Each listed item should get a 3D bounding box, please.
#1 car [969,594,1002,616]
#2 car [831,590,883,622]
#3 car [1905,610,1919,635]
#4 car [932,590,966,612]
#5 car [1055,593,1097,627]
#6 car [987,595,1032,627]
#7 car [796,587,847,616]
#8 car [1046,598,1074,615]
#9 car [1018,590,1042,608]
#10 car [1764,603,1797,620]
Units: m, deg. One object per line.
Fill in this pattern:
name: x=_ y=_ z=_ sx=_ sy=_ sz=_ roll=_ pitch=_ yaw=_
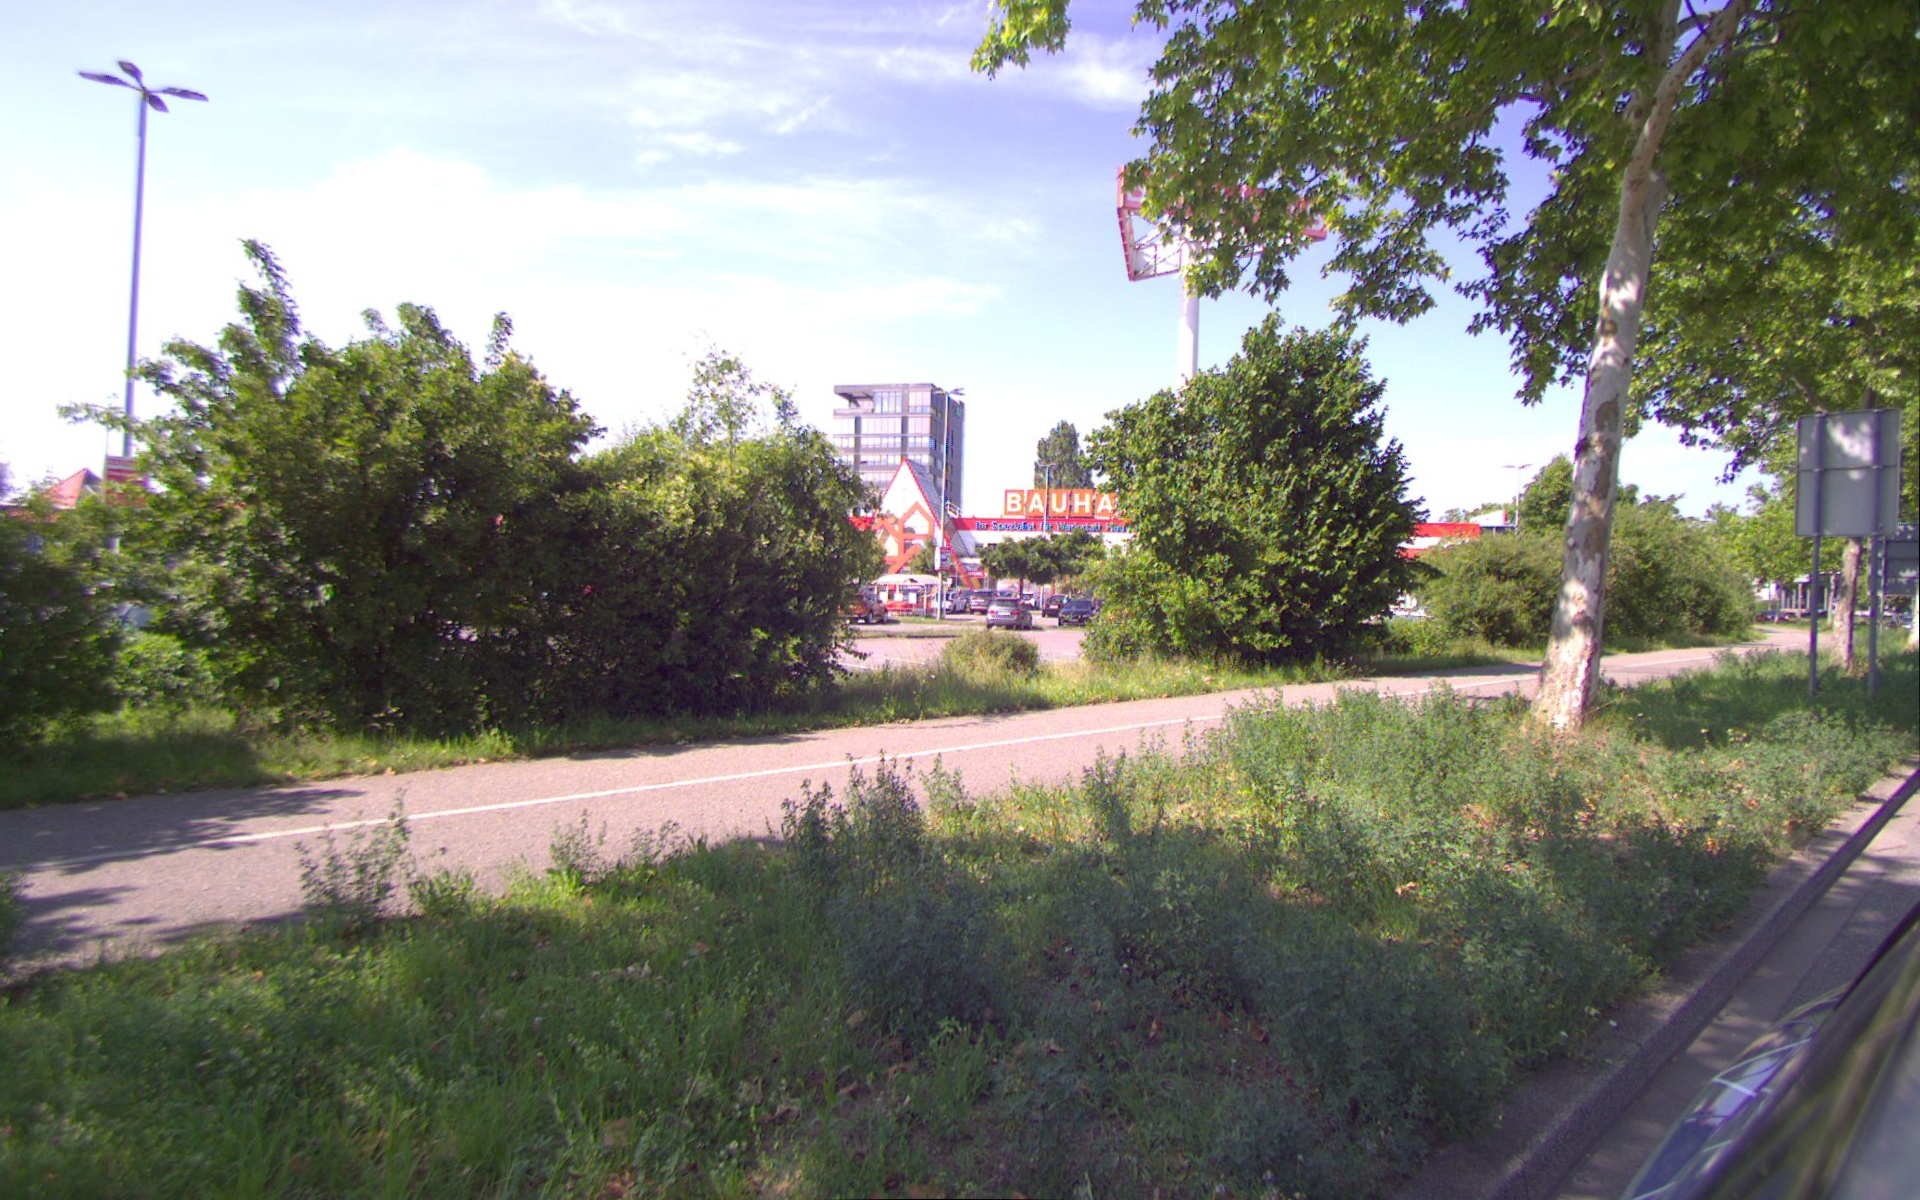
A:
car: x=1.732 y=0.318 z=67.648 sx=1.545 sy=1.397 sz=3.606 roll=0 pitch=0 yaw=12
car: x=-5.125 y=0.291 z=50.820 sx=1.654 sy=1.565 sz=3.778 roll=0 pitch=0 yaw=10
car: x=65.173 y=1.497 z=68.145 sx=1.711 sy=1.604 sz=3.706 roll=1 pitch=0 yaw=35
car: x=-0.697 y=0.050 z=67.852 sx=1.545 sy=1.397 sz=3.606 roll=0 pitch=0 yaw=12
car: x=6.280 y=0.524 z=54.537 sx=1.606 sy=1.648 sz=4.737 roll=3 pitch=0 yaw=14
car: x=2.434 y=0.513 z=49.383 sx=1.752 sy=1.505 sz=3.778 roll=0 pitch=0 yaw=10
car: x=-7.866 y=0.078 z=57.890 sx=1.745 sy=1.625 sz=3.732 roll=0 pitch=0 yaw=11
car: x=6.580 y=0.388 z=66.316 sx=1.495 sy=1.073 sz=3.175 roll=-1 pitch=0 yaw=12
car: x=5.866 y=-0.092 z=84.937 sx=1.545 sy=1.397 sz=3.606 roll=0 pitch=0 yaw=12
car: x=82.914 y=1.142 z=102.315 sx=1.631 sy=1.621 sz=3.575 roll=1 pitch=0 yaw=23
